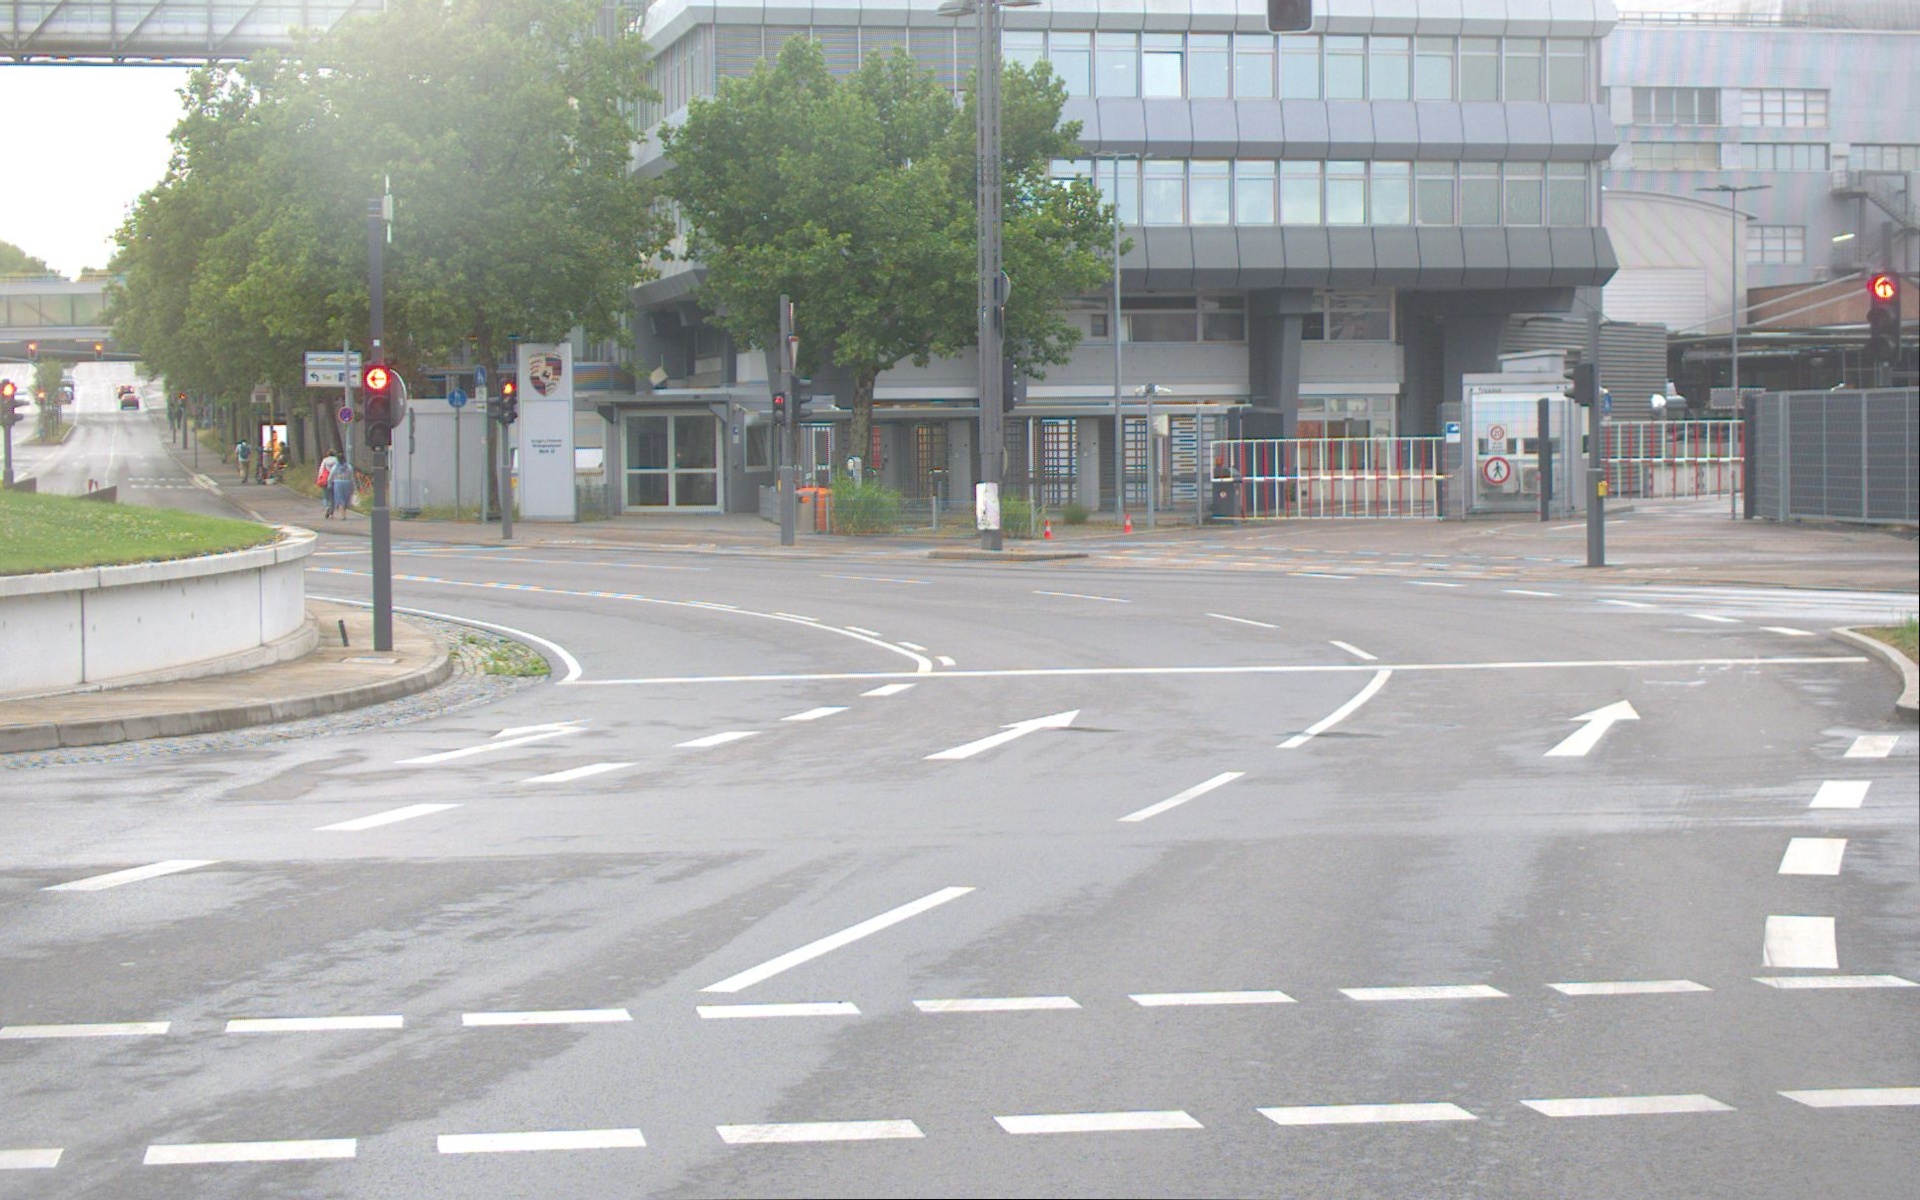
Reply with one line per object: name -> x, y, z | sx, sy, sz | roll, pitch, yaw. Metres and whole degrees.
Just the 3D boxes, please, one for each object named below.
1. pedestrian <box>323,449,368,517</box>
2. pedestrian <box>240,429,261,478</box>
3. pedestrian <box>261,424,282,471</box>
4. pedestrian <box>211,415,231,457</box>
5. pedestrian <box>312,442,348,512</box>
pedestrian -> -13.961, -2.656, 78.096 | 0.831, 1.515, 0.842 | -2, 3, -20
pedestrian -> -26.003, -5.371, 126.064 | 0.711, 1.734, 0.760 | 1, 0, -14
pedestrian -> -26.070, -5.778, 130.176 | 0.757, 1.734, 0.714 | 1, 0, -10
pedestrian -> -35.659, -7.933, 165.899 | 0.765, 2.006, 0.692 | 0, 2, 3
pedestrian -> -14.575, -2.843, 79.513 | 0.709, 1.586, 0.841 | -2, 3, -16
